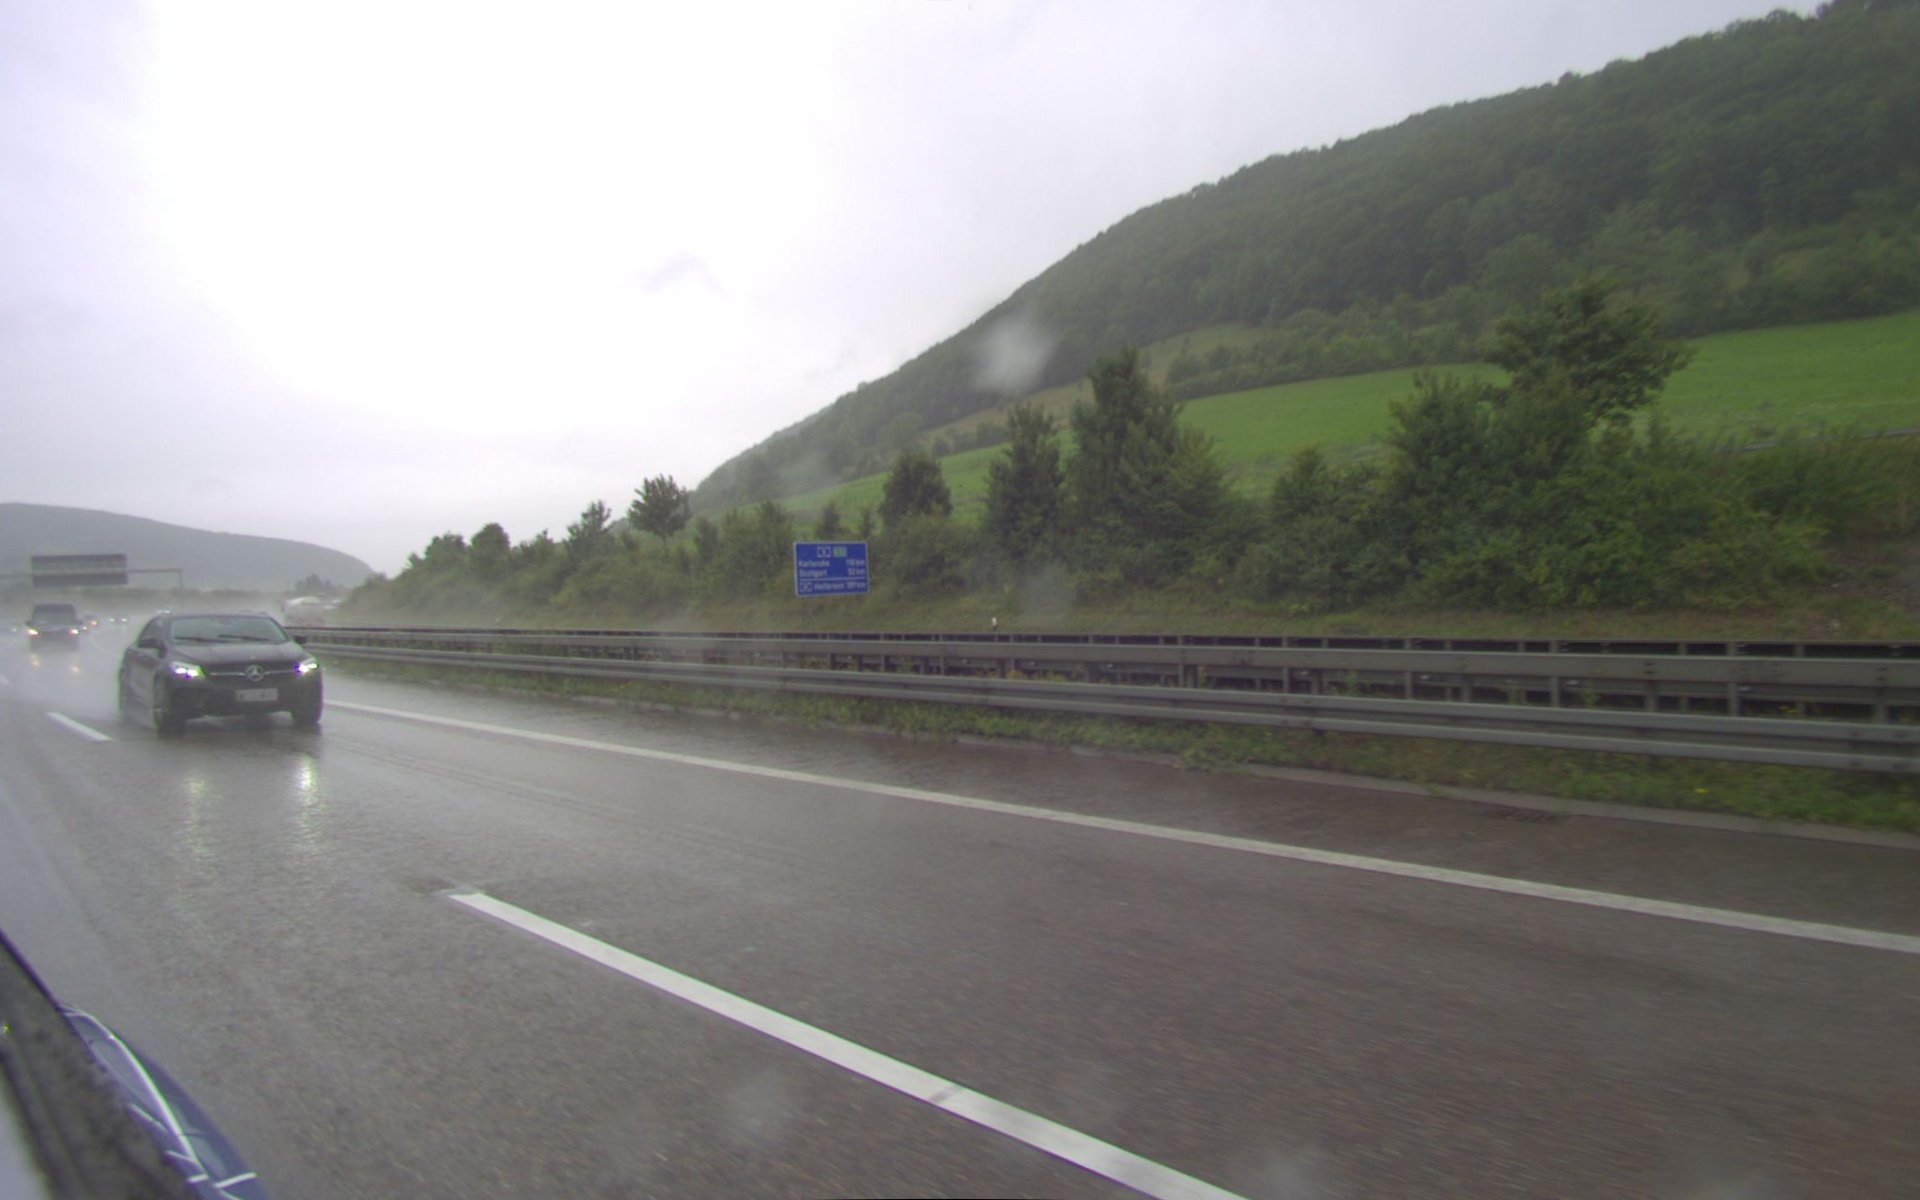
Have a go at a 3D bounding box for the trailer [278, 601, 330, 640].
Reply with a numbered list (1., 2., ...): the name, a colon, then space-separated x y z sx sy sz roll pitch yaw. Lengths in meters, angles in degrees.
1. trailer: -69.659 2.141 107.297 2.897 3.932 12.586 0 -1 -41

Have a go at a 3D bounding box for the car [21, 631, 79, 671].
1. car: -48.086 2.651 53.459 3.934 2.029 1.960 -2 -1 44

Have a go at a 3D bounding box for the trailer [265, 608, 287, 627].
1. trailer: -132.416 3.339 195.859 2.685 3.517 9.413 0 0 -39

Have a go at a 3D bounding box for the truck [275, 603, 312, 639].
1. truck: -73.891 2.282 112.205 2.848 3.831 5.324 0 -1 -40

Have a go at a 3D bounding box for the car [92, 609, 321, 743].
1. car: -11.235 1.003 15.027 3.743 1.715 1.793 0 0 38
